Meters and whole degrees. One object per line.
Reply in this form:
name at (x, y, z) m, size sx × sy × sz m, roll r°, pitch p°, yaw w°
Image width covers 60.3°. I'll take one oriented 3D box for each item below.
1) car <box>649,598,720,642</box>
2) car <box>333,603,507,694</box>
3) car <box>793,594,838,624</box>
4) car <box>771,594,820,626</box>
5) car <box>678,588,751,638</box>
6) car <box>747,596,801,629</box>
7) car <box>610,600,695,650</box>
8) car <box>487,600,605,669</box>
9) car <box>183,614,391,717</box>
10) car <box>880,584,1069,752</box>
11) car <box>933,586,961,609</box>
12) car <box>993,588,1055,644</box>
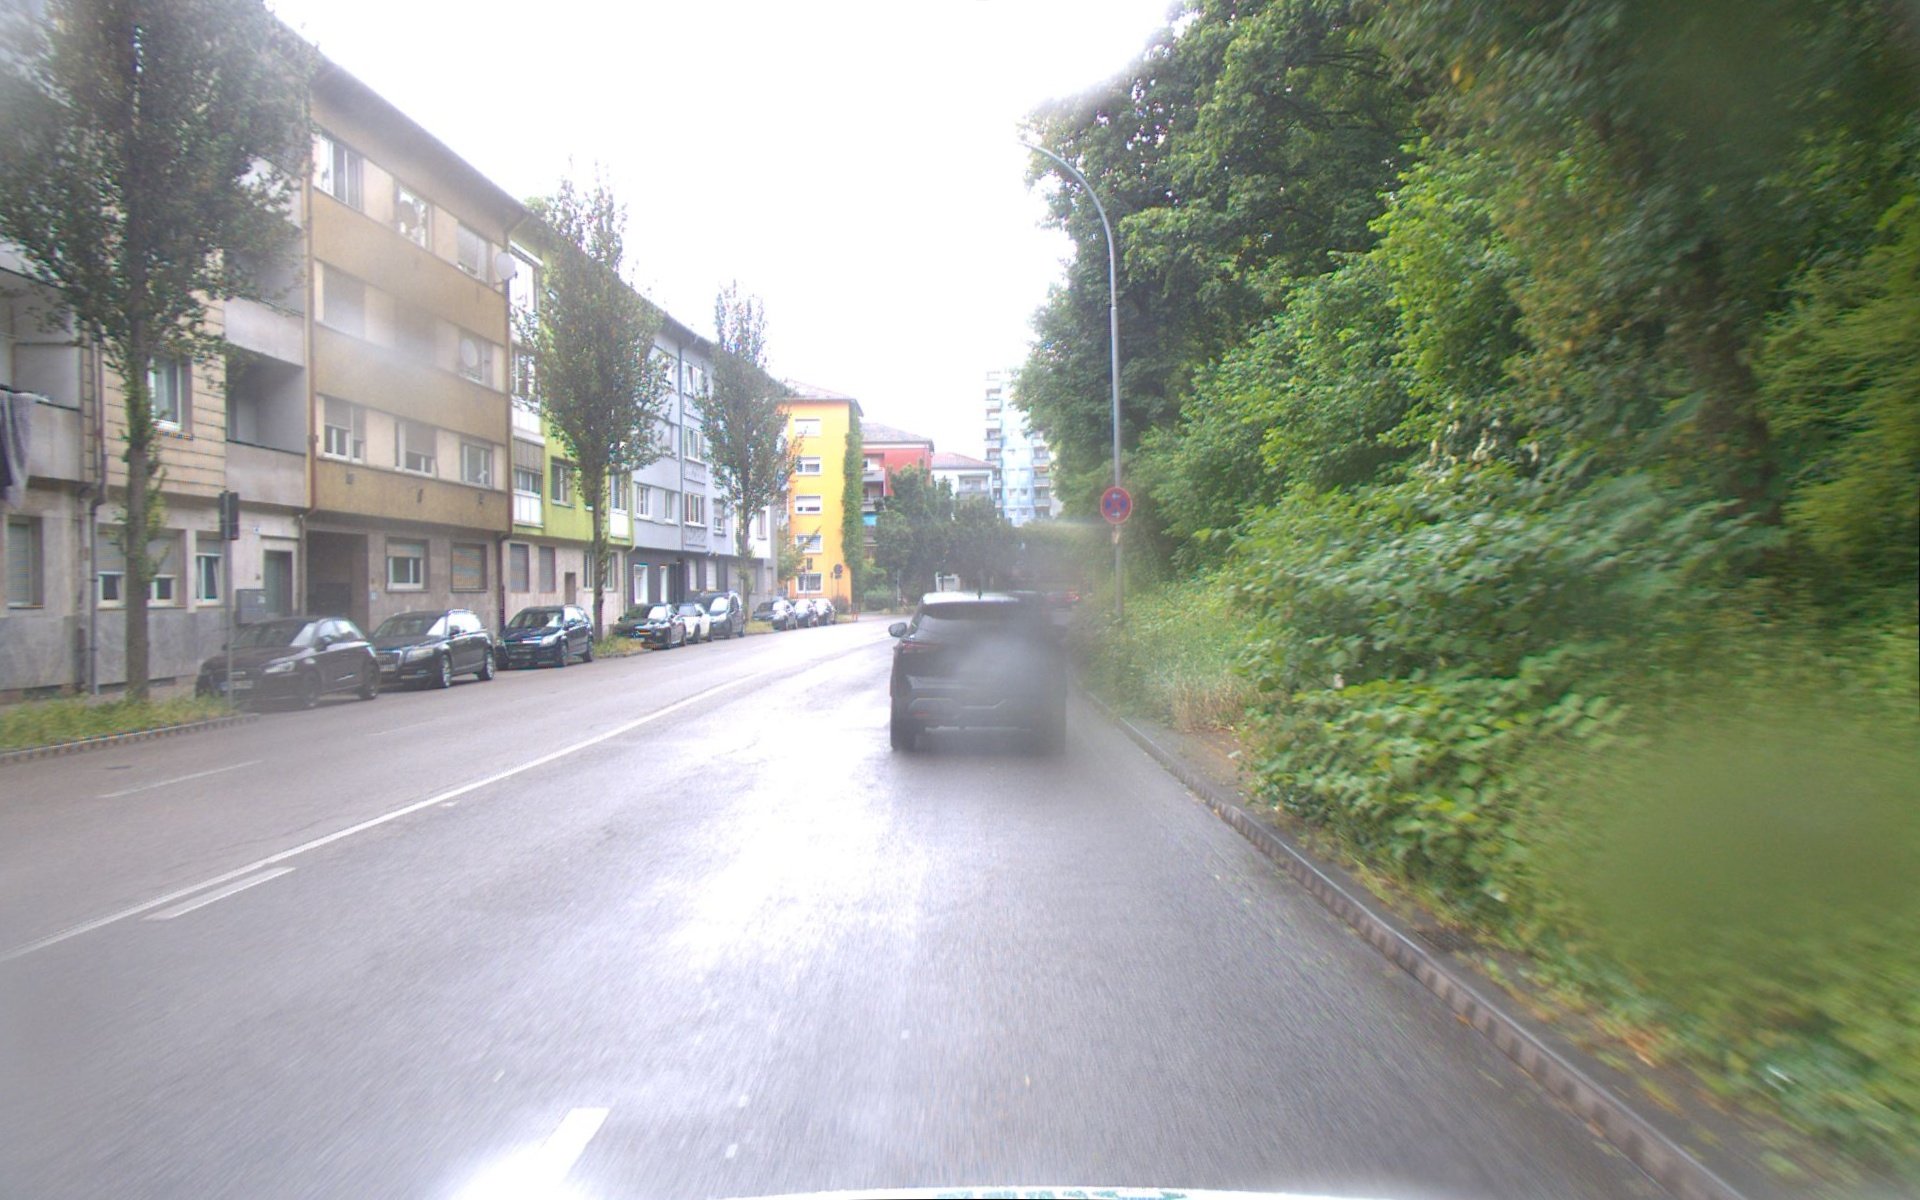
car at (-9.782, 0.690, 58.927) m, size 1.645 × 1.400 × 4.001 m, roll -3°, pitch 0°, yaw 2°
car at (-10.489, 0.890, 32.490) m, size 1.780 × 1.514 × 4.790 m, roll -3°, pitch 0°, yaw 0°
car at (-7.800, 0.471, 89.521) m, size 1.676 × 1.450 × 4.325 m, roll -3°, pitch 0°, yaw 4°
car at (-8.312, 0.480, 83.871) m, size 1.645 × 1.474 × 4.278 m, roll -4°, pitch 0°, yaw 4°
car at (-9.573, 0.485, 64.825) m, size 1.851 × 1.797 × 4.603 m, roll -2°, pitch 0°, yaw 4°
car at (-8.716, 0.574, 77.773) m, size 1.653 × 1.381 × 4.581 m, roll -4°, pitch 0°, yaw 3°
car at (-9.846, 0.769, 53.357) m, size 1.780 × 1.396 × 4.681 m, roll -3°, pitch 0°, yaw 0°
car at (-10.376, 0.831, 41.770) m, size 1.683 × 1.514 × 4.516 m, roll -3°, pitch 0°, yaw 1°
car at (-10.681, 0.997, 26.541) m, size 1.592 × 1.411 × 3.989 m, roll -2°, pitch 0°, yaw 1°
car at (0.167, 0.637, 17.983) m, size 1.807 × 1.610 × 4.000 m, roll 0°, pitch 0°, yaw 1°
car at (-0.892, -0.162, 113.438) m, size 1.671 × 1.504 × 3.681 m, roll -2°, pitch 0°, yaw 2°
car at (2.088, 0.489, 53.037) m, size 1.847 × 1.741 × 4.002 m, roll 0°, pitch 0°, yaw 4°
